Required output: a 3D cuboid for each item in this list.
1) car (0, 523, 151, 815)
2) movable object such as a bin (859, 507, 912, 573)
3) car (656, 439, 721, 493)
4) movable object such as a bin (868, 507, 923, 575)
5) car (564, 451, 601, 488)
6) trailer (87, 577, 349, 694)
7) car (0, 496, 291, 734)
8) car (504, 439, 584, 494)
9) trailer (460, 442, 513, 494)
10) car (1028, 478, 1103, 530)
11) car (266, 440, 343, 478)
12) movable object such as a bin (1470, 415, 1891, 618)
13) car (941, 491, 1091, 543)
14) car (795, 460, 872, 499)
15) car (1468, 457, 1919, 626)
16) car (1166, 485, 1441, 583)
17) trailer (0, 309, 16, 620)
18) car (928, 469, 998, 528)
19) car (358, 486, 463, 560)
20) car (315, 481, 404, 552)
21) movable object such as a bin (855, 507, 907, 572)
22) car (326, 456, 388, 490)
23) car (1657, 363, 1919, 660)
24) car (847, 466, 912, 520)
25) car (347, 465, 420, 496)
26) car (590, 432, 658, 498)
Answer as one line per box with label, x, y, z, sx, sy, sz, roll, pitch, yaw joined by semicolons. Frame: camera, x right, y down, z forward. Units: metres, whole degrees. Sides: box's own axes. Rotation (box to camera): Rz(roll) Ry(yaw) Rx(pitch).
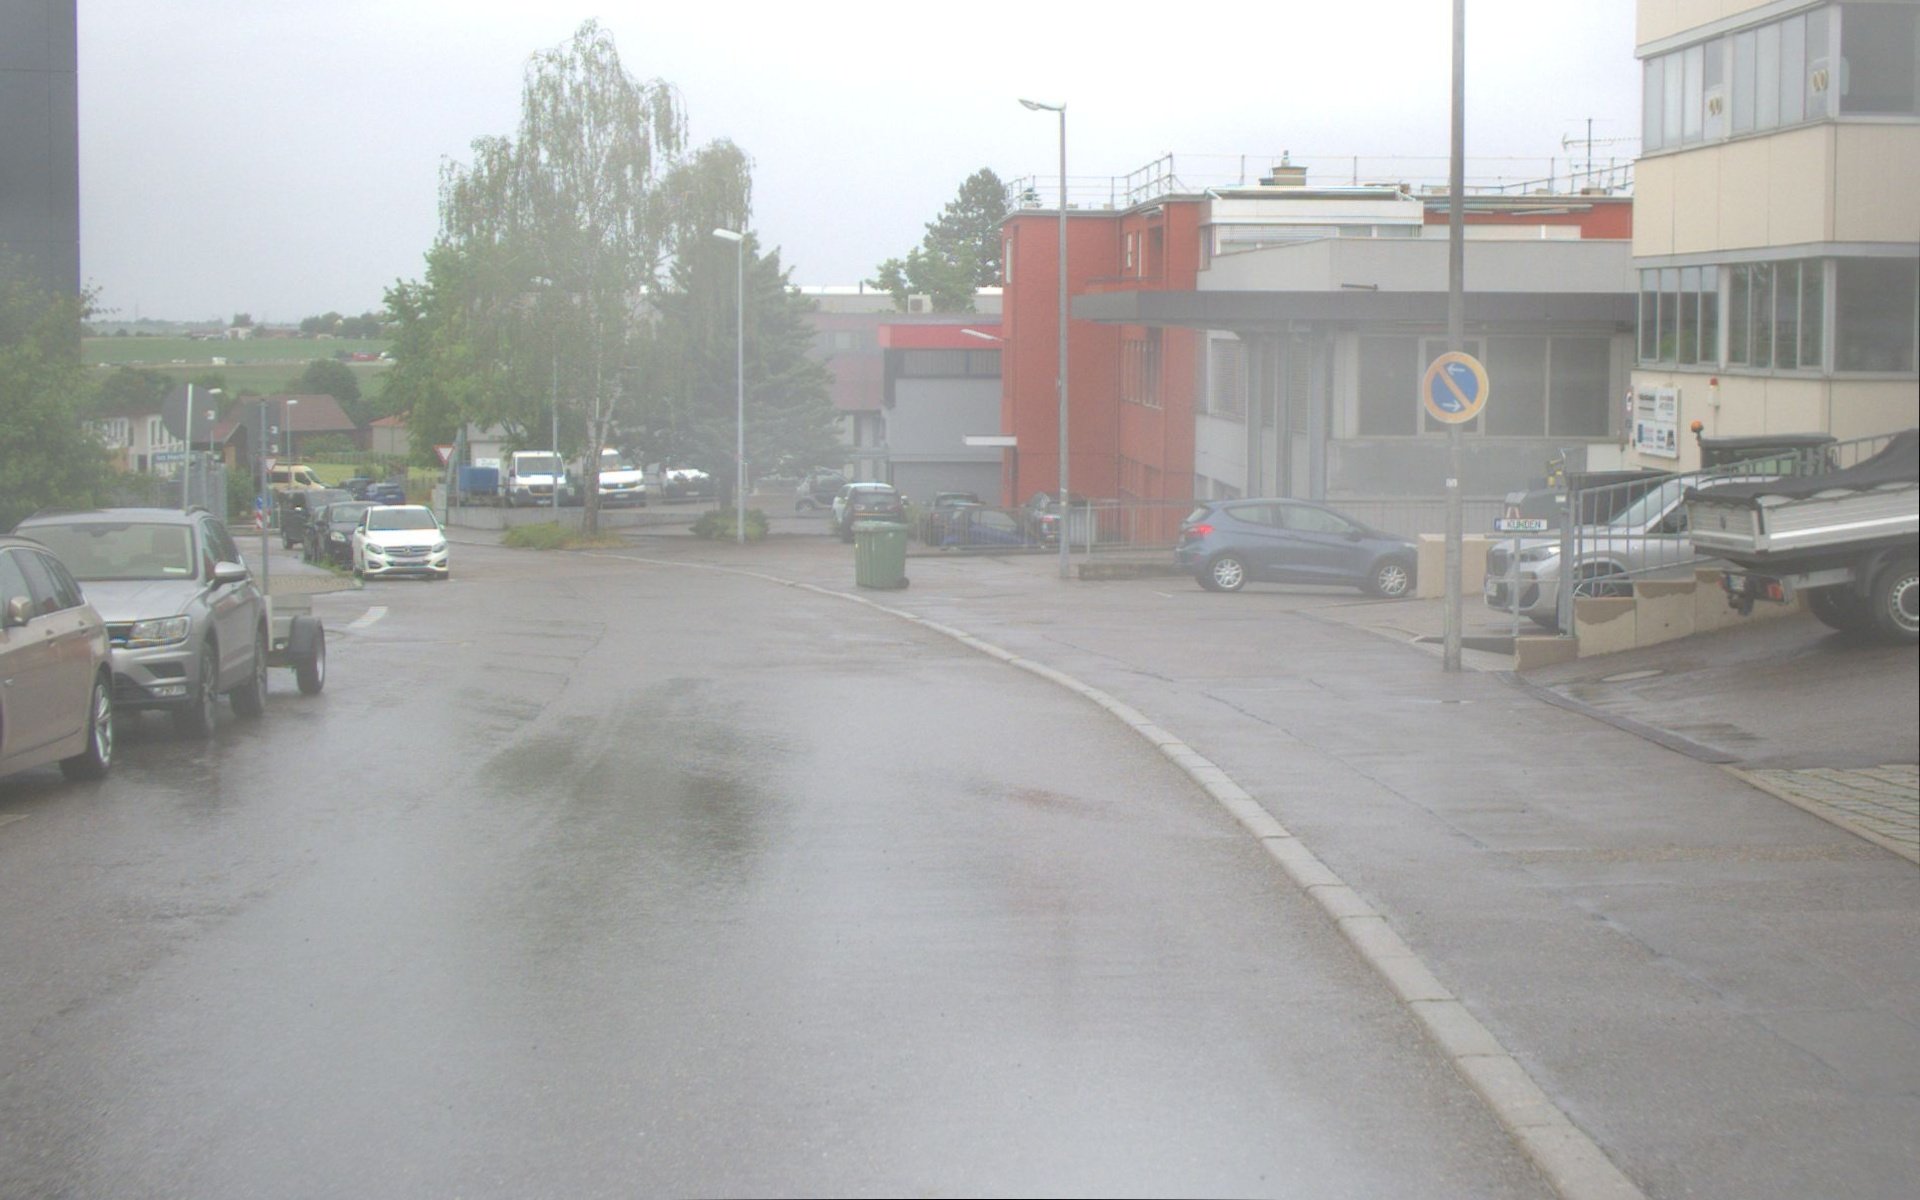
car;-5.979;0.333;19.110;1.956;1.456;5.248;-1;2;-3
movable object such as a bin;-1.256;-1.015;57.674;0.809;1.087;0.542;-1;2;-8
car;-10.457;-5.135;132.362;2.145;2.007;3.941;-1;1;-10
movable object such as a bin;-1.056;-0.977;56.460;0.806;1.089;0.709;-1;2;-8
car;-15.015;-5.198;136.764;1.290;1.419;2.547;-1;1;-10
trailer;-6.371;0.275;29.866;1.680;0.885;3.898;-1;1;-4
car;-6.253;0.056;25.479;1.957;1.571;4.841;-1;1;-4
car;-15.829;-5.051;130.685;2.264;2.007;4.001;-1;1;-18
trailer;-18.540;-5.160;134.560;1.852;2.006;4.002;0;2;-11
car;2.950;-2.699;96.804;1.728;1.417;4.001;-1;1;-3
car;-39.841;-8.588;208.931;4.241;2.218;2.000;0;1;3
movable object such as a bin;7.837;-0.926;37.561;4.254;2.103;1.477;-1;2;-2
car;1.275;-1.924;79.193;3.400;1.159;1.792;0;2;-1
car;-4.371;-4.180;118.869;2.547;1.347;1.242;0;2;-8
car;7.992;-0.637;35.665;5.090;1.608;1.925;-1;3;-3
car;5.206;-1.004;52.444;3.894;1.379;1.821;1;1;-4
trailer;-15.101;-1.806;46.892;4.181;4.188;2.002;0;2;35
car;0.073;-2.866;97.648;1.739;1.647;4.001;-1;1;-3
car;-11.737;-1.638;73.257;1.769;1.507;4.146;-2;1;-14
car;-14.680;-2.051;83.889;1.700;1.603;4.002;-2;3;-16
movable object such as a bin;-1.336;-1.030;58.229;0.808;1.073;0.582;-1;2;-8
car;-31.740;-6.671;180.931;1.993;1.698;4.000;-1;1;-30
car;8.368;-0.945;26.421;5.298;2.006;2.222;-8;2;-3
car;-2.284;-2.989;96.856;1.697;1.470;4.001;-1;1;-3
car;-29.447;-6.095;175.490;2.460;1.533;4.000;-1;1;-30
car;-12.849;-5.141;131.268;2.192;2.451;4.001;-1;1;-11
